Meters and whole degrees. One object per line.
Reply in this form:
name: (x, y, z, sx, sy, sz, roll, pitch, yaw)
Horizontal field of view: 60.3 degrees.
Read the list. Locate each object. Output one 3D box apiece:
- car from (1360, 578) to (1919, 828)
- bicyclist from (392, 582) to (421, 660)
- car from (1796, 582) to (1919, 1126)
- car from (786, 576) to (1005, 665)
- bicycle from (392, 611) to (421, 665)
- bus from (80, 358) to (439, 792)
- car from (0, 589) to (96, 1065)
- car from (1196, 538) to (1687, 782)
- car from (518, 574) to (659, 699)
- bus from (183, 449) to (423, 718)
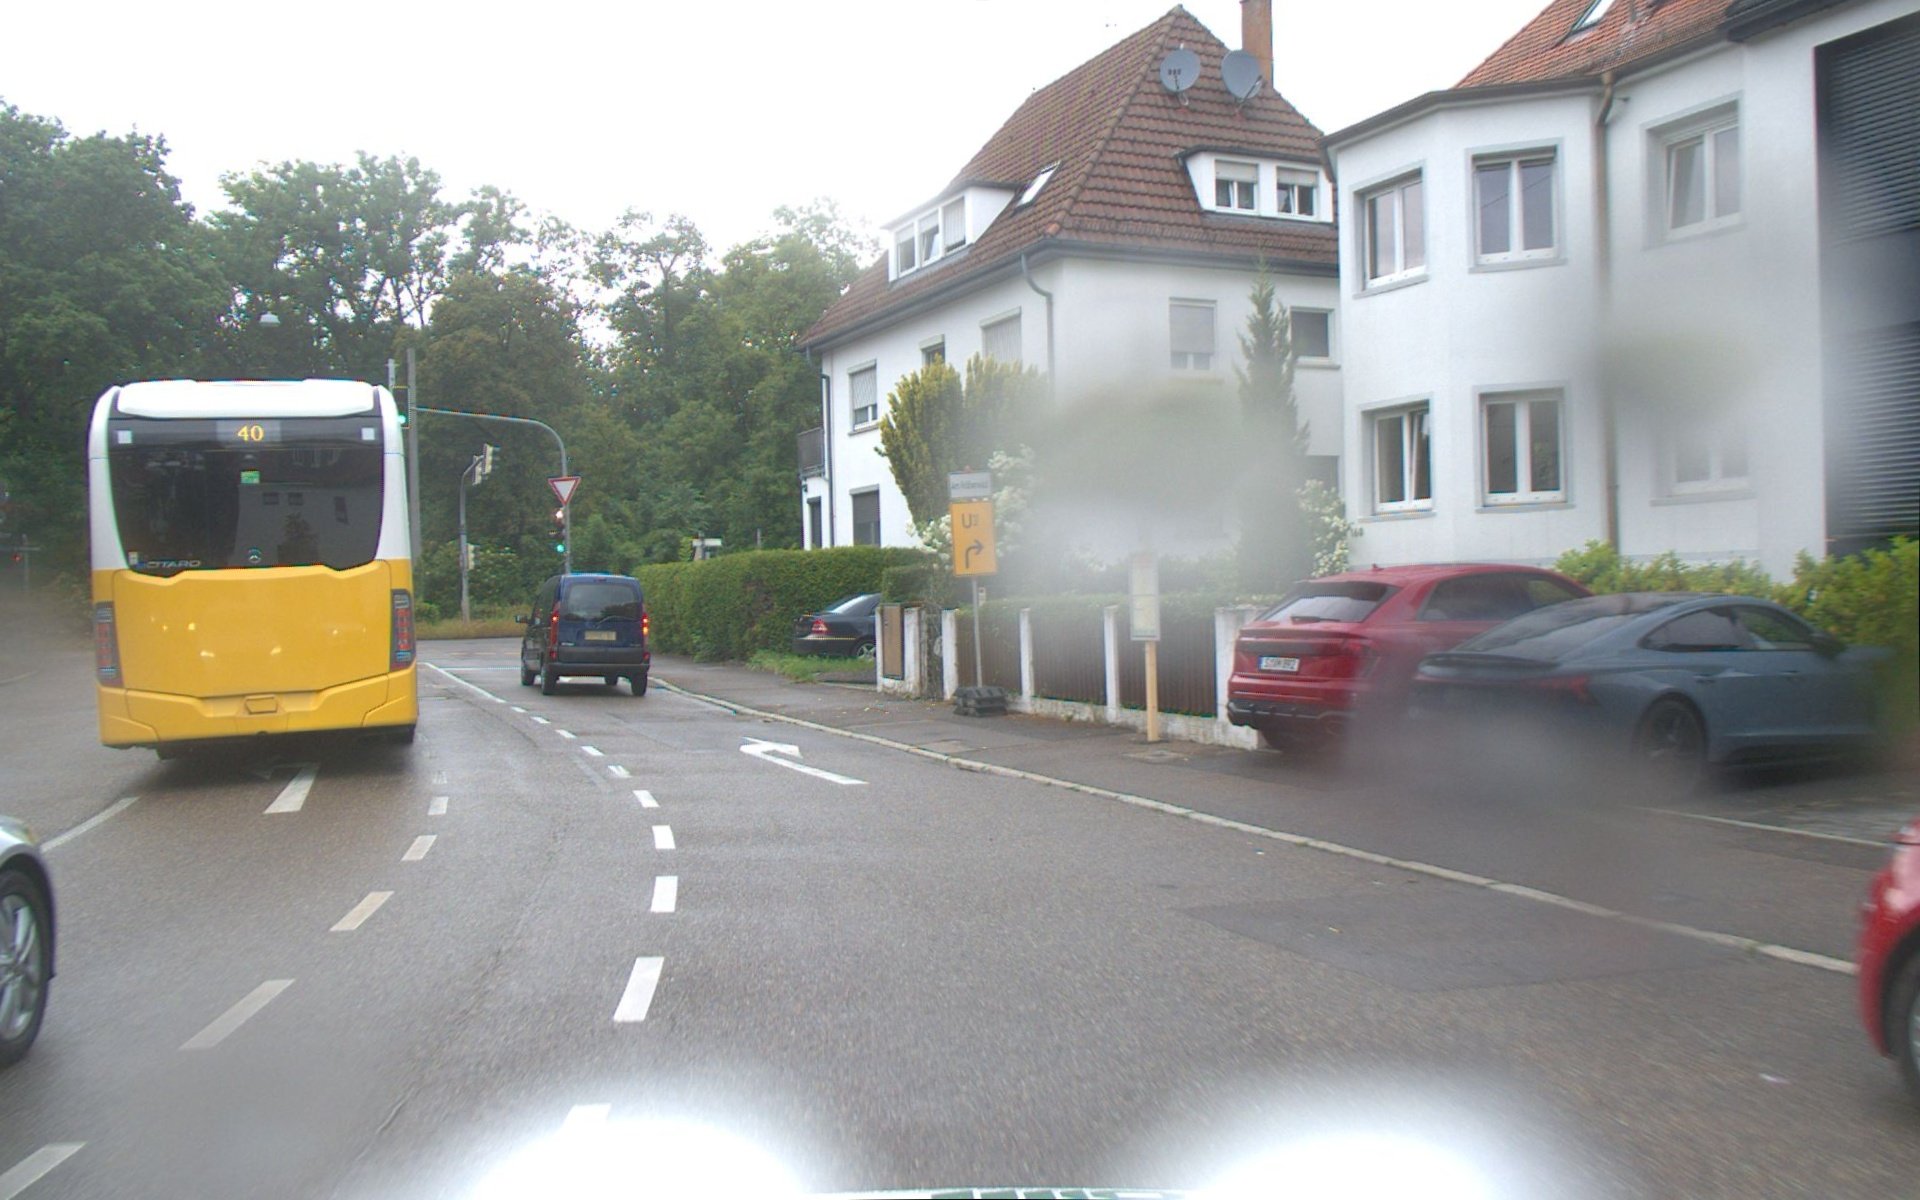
car: (5.452, 0.643, 12.671, 4.498, 1.441, 1.981, -3, 2, -29)
bicyclist: (-12.094, 0.448, 36.149, 0.569, 1.681, 1.043, 0, 0, -18)
car: (3.959, 0.742, 3.804, 1.588, 1.564, 3.519, 0, 0, -20)
car: (-1.179, 0.336, 30.279, 3.694, 1.412, 1.604, -2, 3, -24)
bicycle: (-12.110, 0.819, 36.199, 0.569, 1.115, 2.143, 0, 0, -18)
bus: (-7.168, -0.265, 17.705, 2.637, 3.457, 8.630, -2, 1, -20)
car: (-3.862, 0.791, 3.670, 1.956, 1.505, 4.479, -2, 1, -7)
car: (4.305, 0.420, 14.667, 4.033, 1.780, 1.979, -3, 2, -31)
car: (-6.087, 0.558, 26.793, 1.781, 1.829, 3.978, -1, 0, -19)
bus: (-10.152, -0.286, 26.039, 2.857, 3.457, 8.987, -2, 1, -20)
